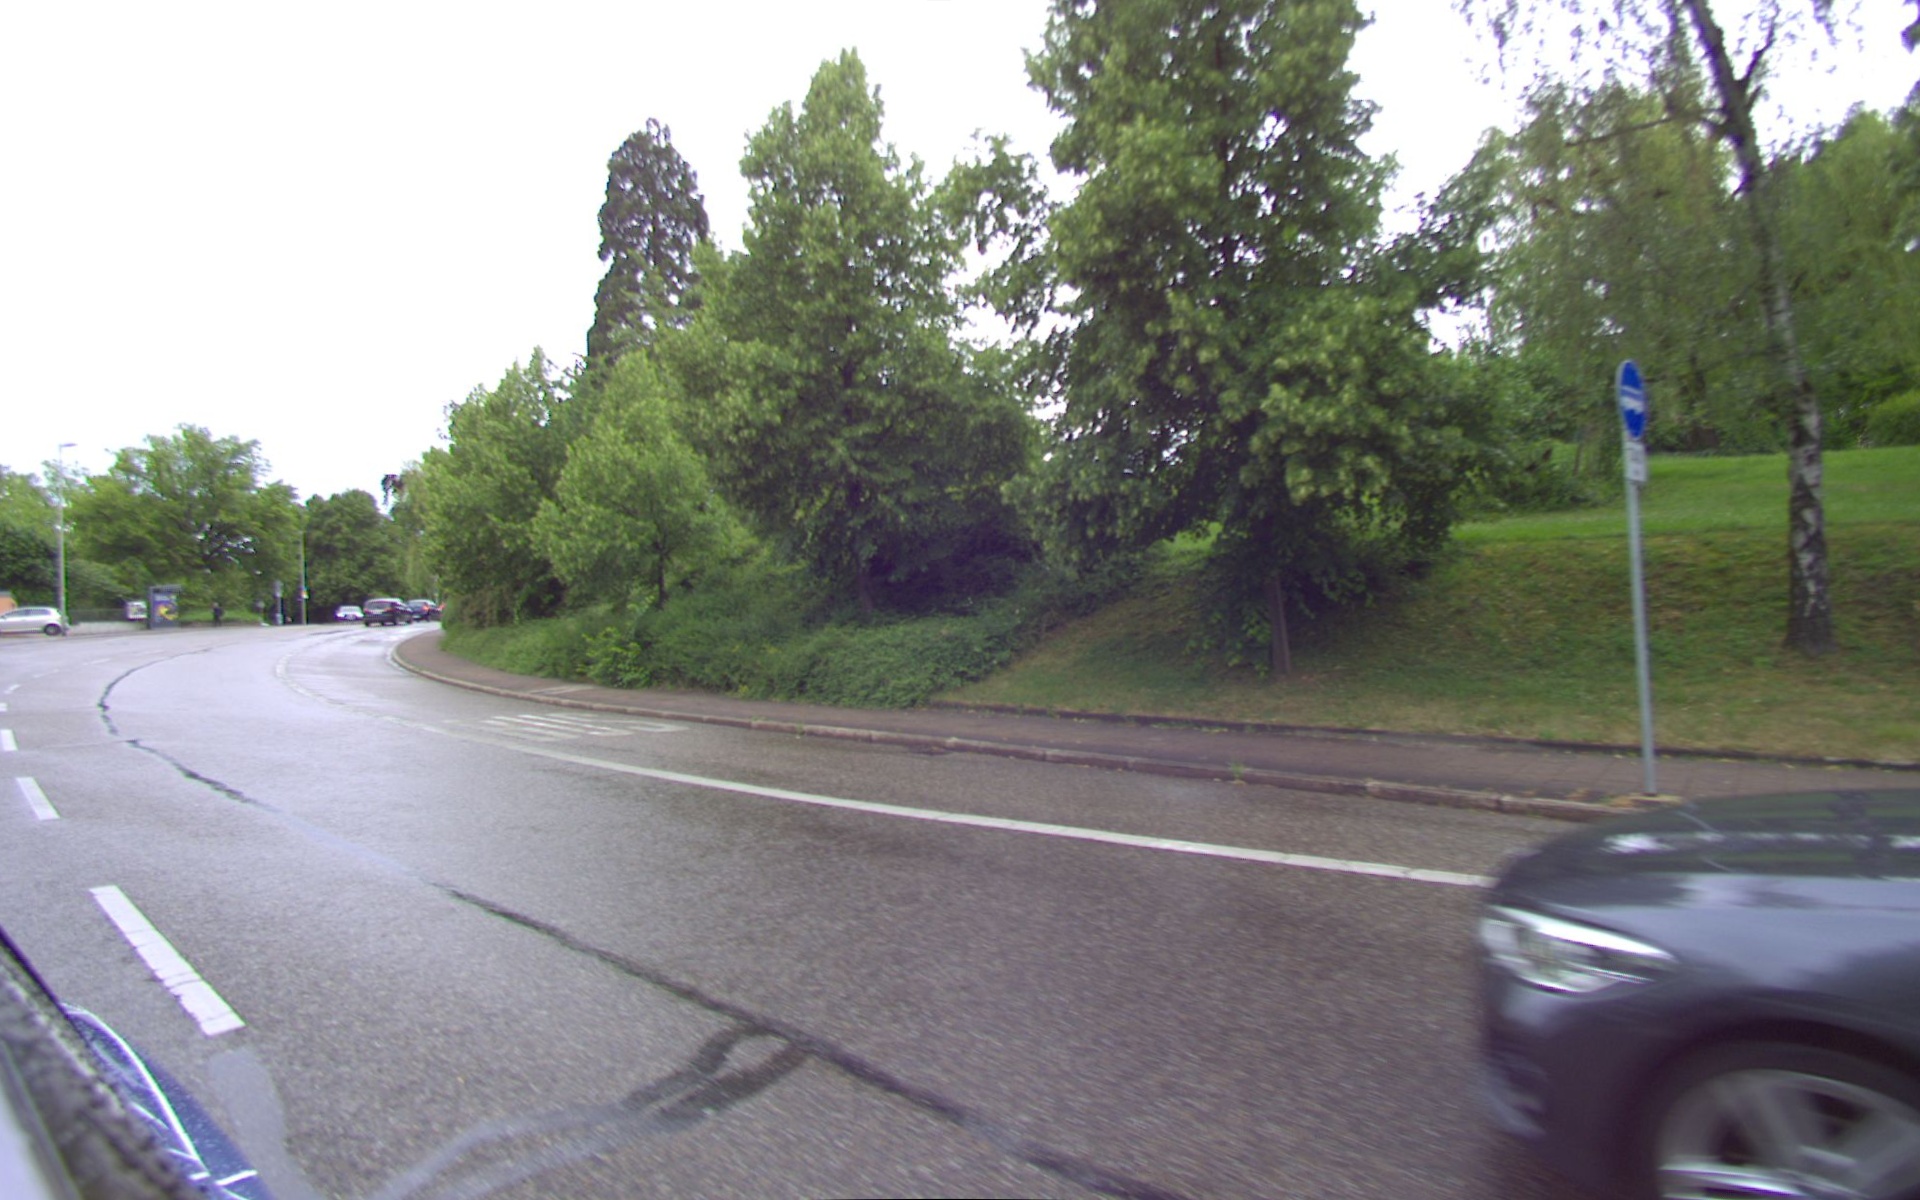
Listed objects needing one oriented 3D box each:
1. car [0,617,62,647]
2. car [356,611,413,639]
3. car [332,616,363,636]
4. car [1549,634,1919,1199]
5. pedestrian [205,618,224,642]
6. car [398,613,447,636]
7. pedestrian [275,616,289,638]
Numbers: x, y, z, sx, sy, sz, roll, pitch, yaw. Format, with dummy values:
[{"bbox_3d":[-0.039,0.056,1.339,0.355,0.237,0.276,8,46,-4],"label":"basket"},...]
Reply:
[{"bbox_3d":[-51.848,1.752,55.468,3.808,1.578,1.730,1,-3,-38],"label":"car"},{"bbox_3d":[-35.611,1.514,62.785,1.786,1.588,4.698,-1,0,-13],"label":"car"},{"bbox_3d":[-50.743,2.187,83.882,1.831,1.425,4.399,-2,-2,-26],"label":"car"},{"bbox_3d":[3.381,0.719,1.437,4.136,1.394,1.704,-3,-3,40],"label":"car"},{"bbox_3d":[-52.769,2.101,71.601,0.912,1.667,1.101,-1,-1,-28],"label":"pedestrian"},{"bbox_3d":[-37.257,1.717,70.309,1.699,1.475,4.385,-1,-1,-10],"label":"car"},{"bbox_3d":[-54.026,2.144,80.635,0.713,1.746,0.821,-1,-1,-18],"label":"pedestrian"}]
